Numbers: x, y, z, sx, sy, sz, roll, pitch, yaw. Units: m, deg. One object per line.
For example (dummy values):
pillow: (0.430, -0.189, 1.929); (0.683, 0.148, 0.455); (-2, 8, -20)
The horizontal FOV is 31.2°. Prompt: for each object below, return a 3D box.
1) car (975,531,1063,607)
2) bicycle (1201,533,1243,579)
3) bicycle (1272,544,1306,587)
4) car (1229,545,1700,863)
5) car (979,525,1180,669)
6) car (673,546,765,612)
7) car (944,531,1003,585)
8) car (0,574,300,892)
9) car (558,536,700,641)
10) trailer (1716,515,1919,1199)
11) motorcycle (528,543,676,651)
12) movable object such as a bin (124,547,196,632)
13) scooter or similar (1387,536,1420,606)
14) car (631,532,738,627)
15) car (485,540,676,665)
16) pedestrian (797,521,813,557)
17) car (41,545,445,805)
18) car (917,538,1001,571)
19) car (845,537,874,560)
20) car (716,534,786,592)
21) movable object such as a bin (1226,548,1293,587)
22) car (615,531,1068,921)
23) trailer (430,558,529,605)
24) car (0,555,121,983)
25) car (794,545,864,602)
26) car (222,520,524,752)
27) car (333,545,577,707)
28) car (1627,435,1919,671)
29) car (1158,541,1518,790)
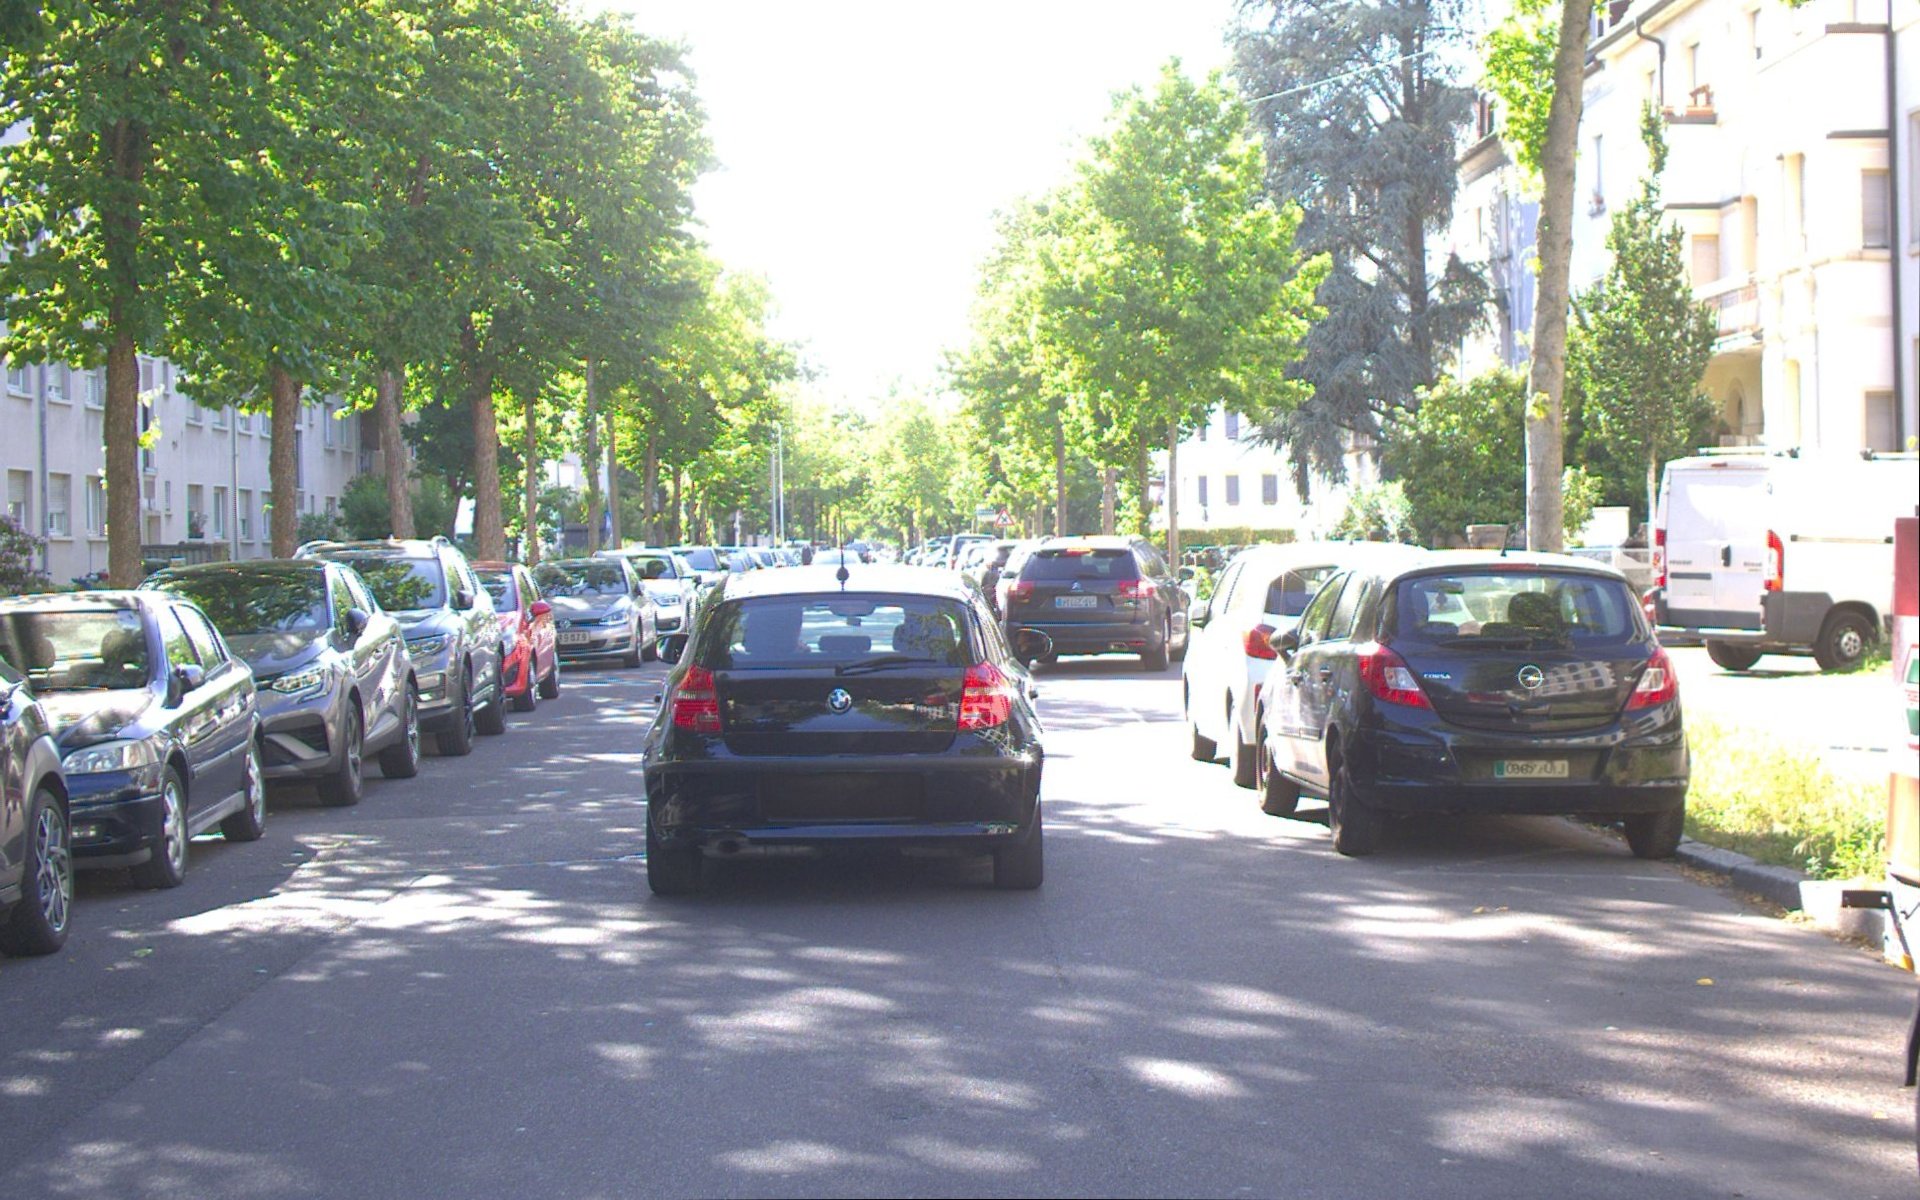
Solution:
car: (1.333, -0.741, 78.670); (1.926, 1.646, 5.095); (1, 1, 0)
bicycle: (7.303, -1.227, 95.952); (0.838, 1.253, 2.232); (0, 1, -5)
bicycle: (7.661, -0.802, 80.081); (0.581, 0.971, 1.903); (-2, 1, 0)
car: (2.516, 0.453, 18.103); (1.670, 1.445, 4.179); (1, 1, -2)
car: (1.291, -0.047, 39.107); (1.895, 1.519, 4.967); (0, 0, -2)
car: (-5.431, -0.502, 77.947); (1.779, 1.374, 4.263); (-3, 1, -1)
car: (0.481, -1.594, 128.486); (1.971, 1.942, 4.986); (-1, 1, -2)
car: (-4.614, 0.591, 17.513); (1.784, 1.348, 4.482); (-2, 1, -3)
car: (-5.119, -0.214, 53.731); (2.063, 1.519, 4.723); (-1, 1, -4)
trailer: (2.841, 0.614, 7.744); (1.574, 1.573, 3.192); (1, 1, 1)
motorcycle: (-5.188, -0.036, 49.754); (0.987, 1.498, 2.233); (-3, 1, -41)
movable object such as a bin: (-12.869, -0.176, 55.334); (0.929, 1.319, 1.379); (-2, 1, -6)
scooter or similar: (7.692, -0.507, 59.566); (0.402, 1.181, 1.205); (-1, 2, 14)
car: (-5.220, -0.411, 65.480); (1.728, 1.612, 4.367); (-4, 1, -2)
car: (-5.001, -0.008, 45.892); (2.043, 1.519, 4.606); (-1, 1, 0)
pedestrian: (-8.198, -3.235, 181.783); (0.715, 1.894, 0.837); (-1, 1, 4)
car: (-4.654, 0.417, 22.941); (1.769, 1.526, 4.420); (-1, 1, 0)
car: (-0.062, -2.256, 170.134); (3.986, 1.581, 1.727); (-1, 1, -5)
car: (-7.259, -3.700, 247.448); (1.783, 1.603, 4.001); (-1, 1, -5)
car: (-5.965, -1.067, 98.394); (1.811, 1.590, 4.233); (-2, 1, -2)
movable object such as a bin: (7.285, -0.796, 83.586); (1.222, 0.901, 1.663); (-1, 1, 19)
car: (-0.592, 0.471, 15.881); (1.782, 1.518, 4.001); (-2, 1, -3)
trailer: (-11.163, -0.450, 80.071); (1.789, 1.030, 3.281); (-1, 1, 1)
car: (-4.421, 0.665, 12.302); (1.706, 1.571, 4.482); (-2, 1, 0)
car: (-3.608, -0.753, 94.679); (1.809, 1.441, 4.367); (-3, 1, -2)
car: (-4.703, 0.226, 28.175); (1.767, 1.682, 4.815); (-2, 1, -2)
car: (-4.982, 0.209, 34.433); (1.856, 1.464, 4.182); (-1, 1, -1)
car: (9.707, -0.530, 35.769); (5.039, 2.298, 2.235); (-2, 1, -24)
car: (2.390, 0.358, 22.672); (1.732, 1.482, 4.010); (0, 1, -3)
